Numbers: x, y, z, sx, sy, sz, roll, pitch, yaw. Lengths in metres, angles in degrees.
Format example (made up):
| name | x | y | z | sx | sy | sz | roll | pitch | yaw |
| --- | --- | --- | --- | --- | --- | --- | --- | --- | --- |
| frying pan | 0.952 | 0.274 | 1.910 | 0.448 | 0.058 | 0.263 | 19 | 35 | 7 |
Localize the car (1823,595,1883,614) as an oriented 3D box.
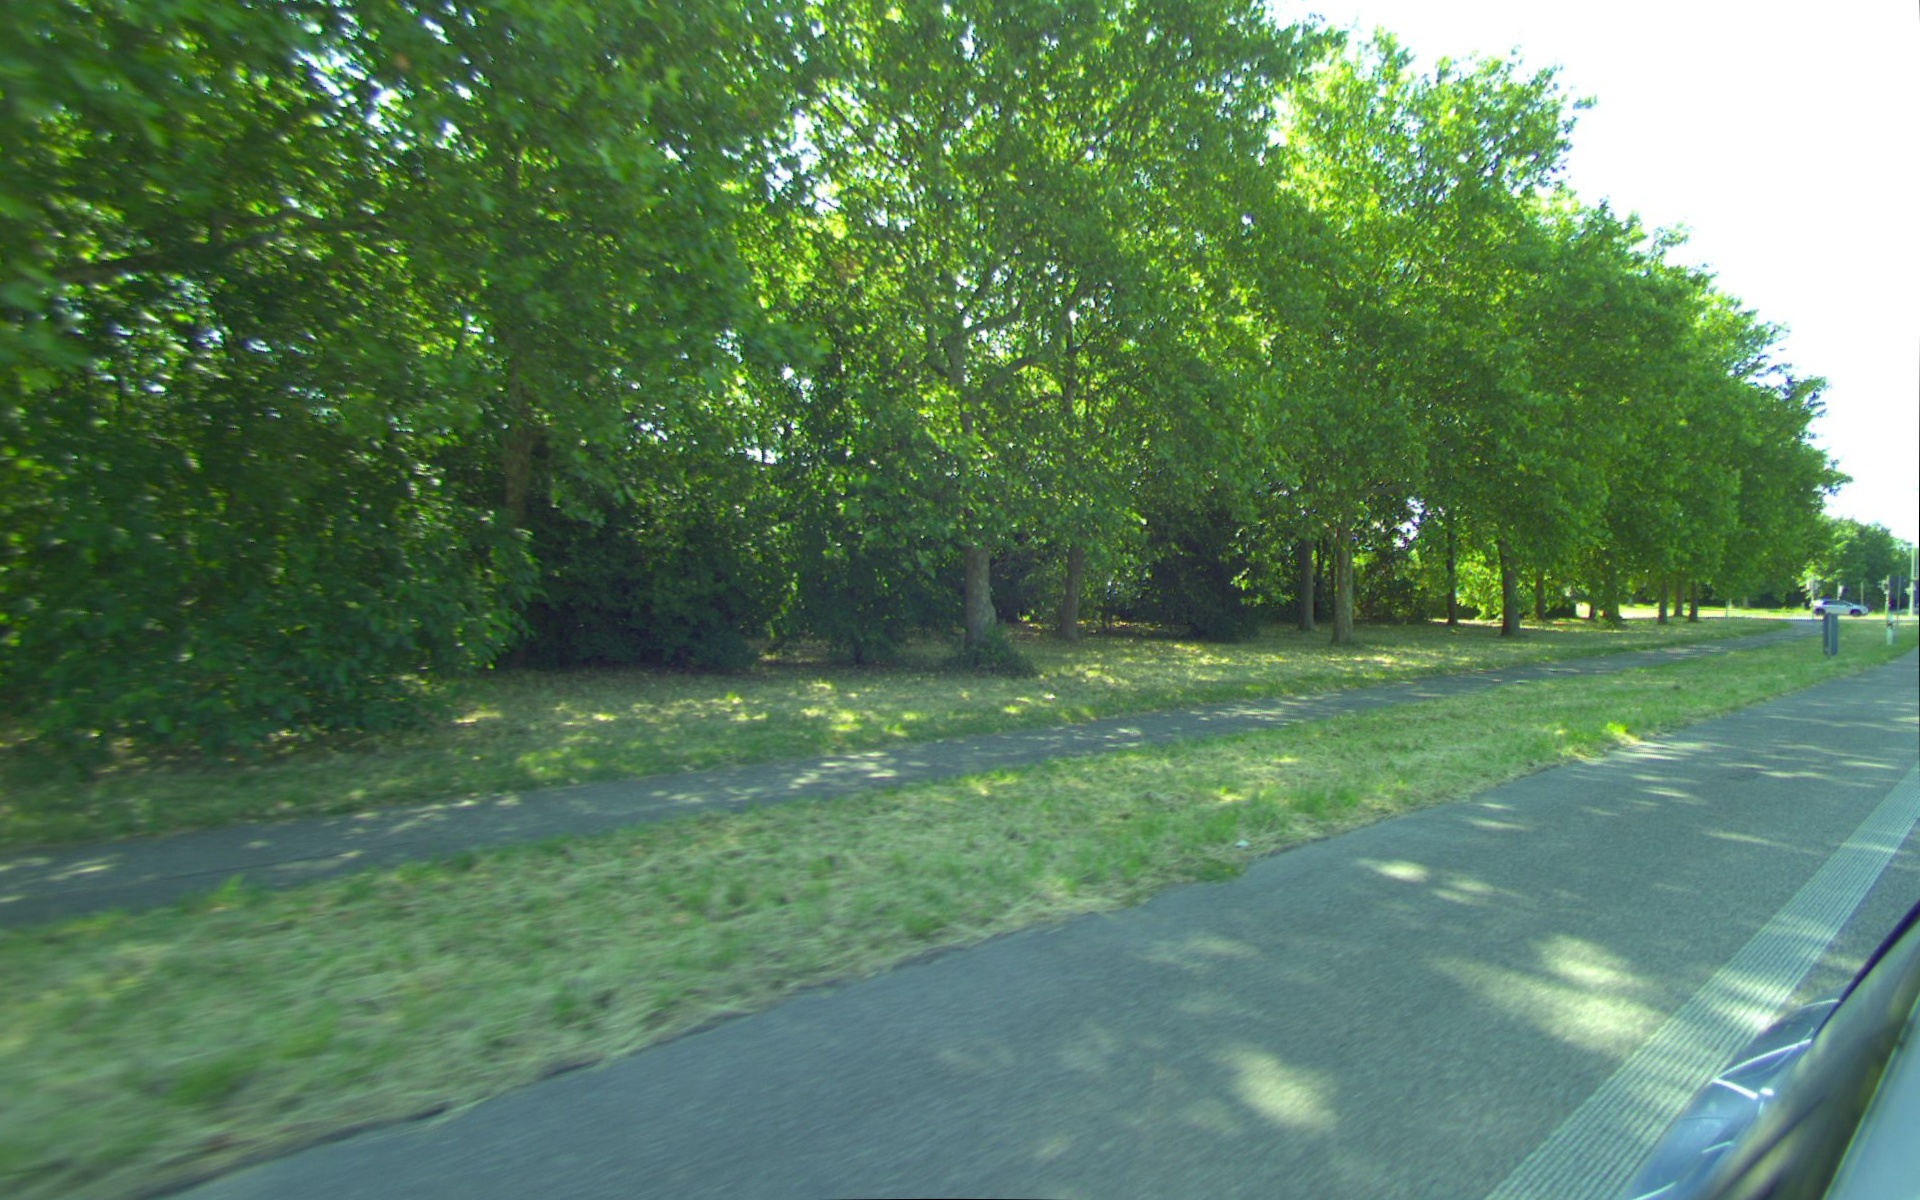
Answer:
| name | x | y | z | sx | sy | sz | roll | pitch | yaw |
| --- | --- | --- | --- | --- | --- | --- | --- | --- | --- |
| car | 83.043 | 0.399 | 94.168 | 1.714 | 1.583 | 4.054 | 0 | 2 | -45 |
